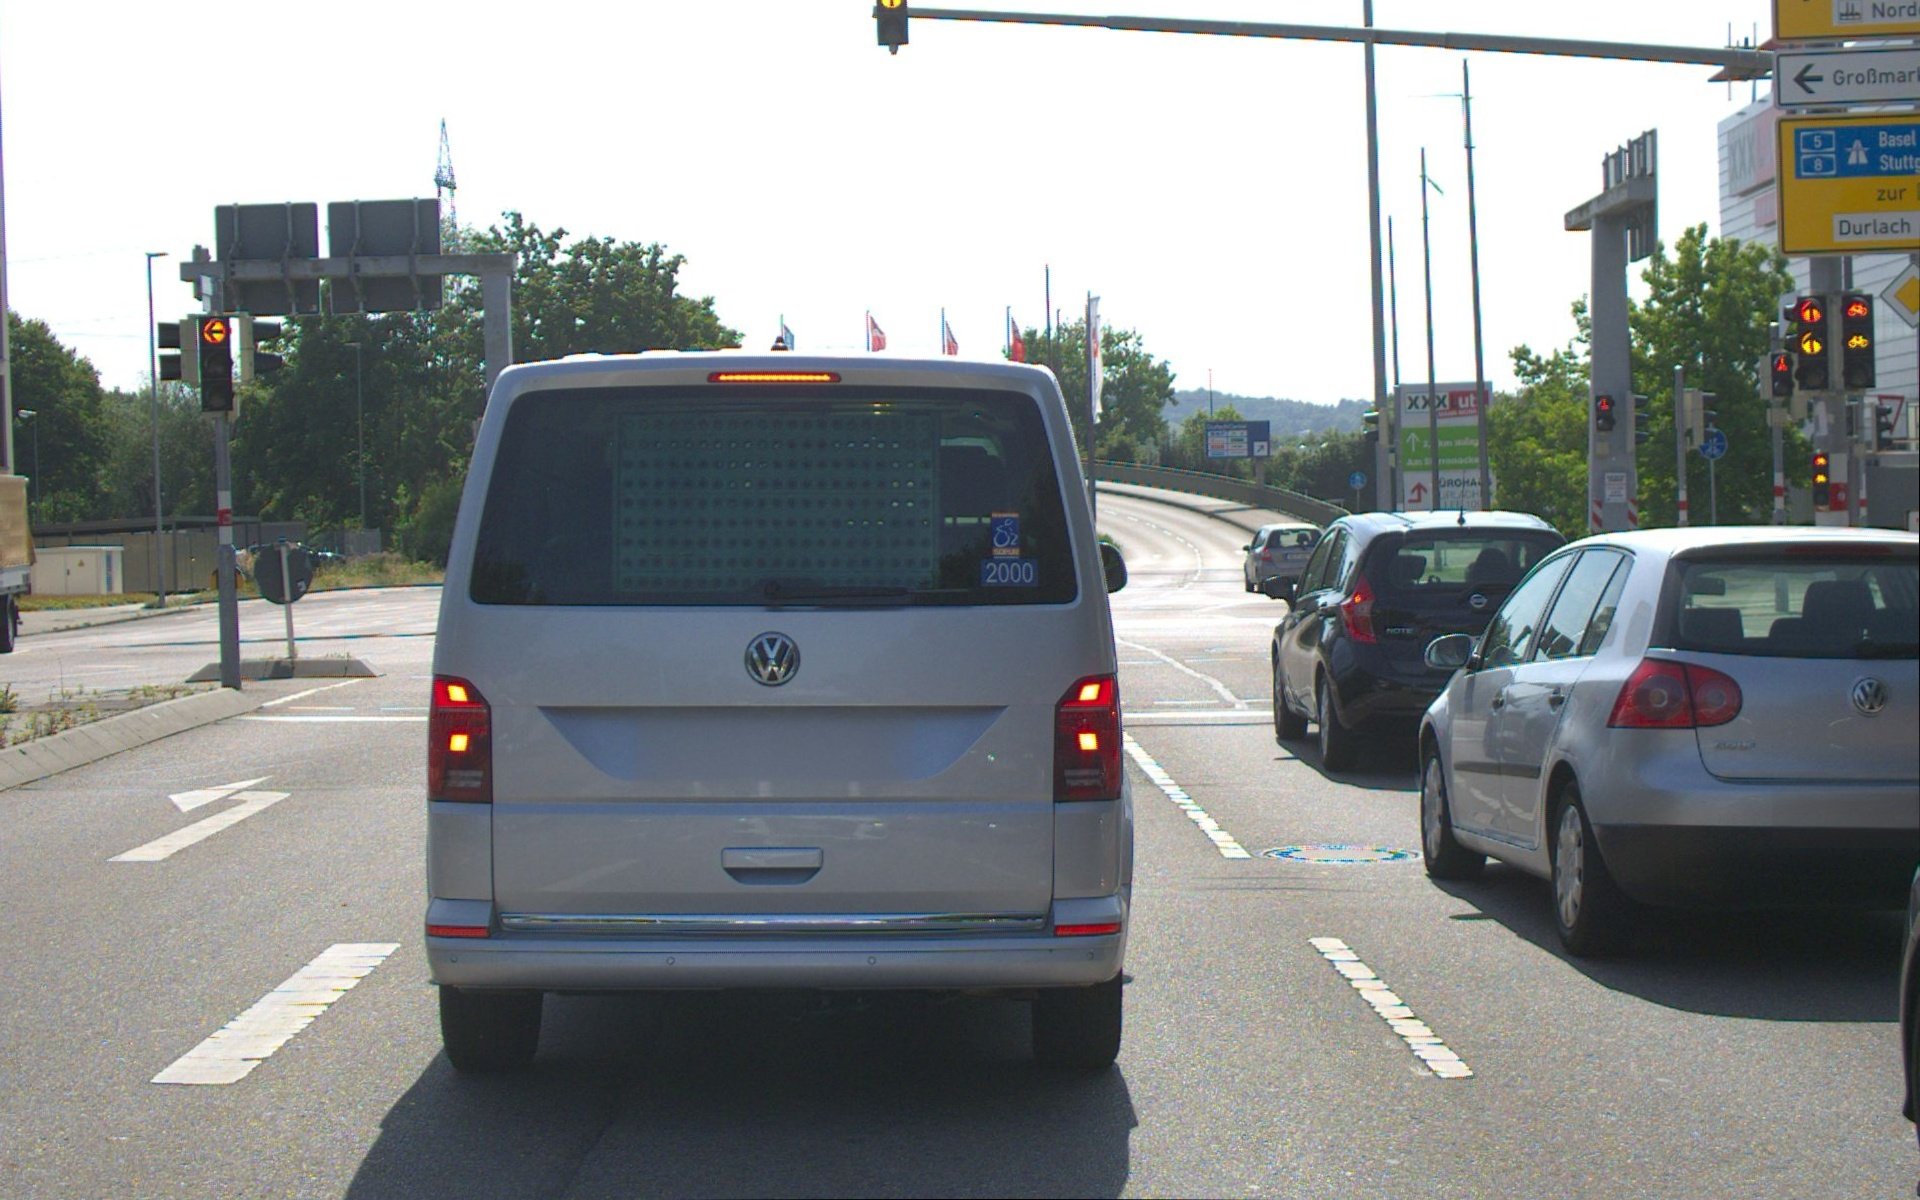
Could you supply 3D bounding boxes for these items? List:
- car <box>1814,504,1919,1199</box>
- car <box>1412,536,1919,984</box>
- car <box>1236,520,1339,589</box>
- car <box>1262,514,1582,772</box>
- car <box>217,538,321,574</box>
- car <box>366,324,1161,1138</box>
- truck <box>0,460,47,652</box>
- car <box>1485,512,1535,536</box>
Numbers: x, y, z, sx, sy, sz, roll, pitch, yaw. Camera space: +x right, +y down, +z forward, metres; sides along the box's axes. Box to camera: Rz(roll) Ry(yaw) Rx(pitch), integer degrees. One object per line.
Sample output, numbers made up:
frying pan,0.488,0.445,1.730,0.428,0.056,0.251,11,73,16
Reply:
car,2.915,0.606,5.892,1.773,1.533,4.138,-1,2,-1
car,2.832,0.480,12.905,1.666,1.409,3.683,0,1,-2
car,7.214,-1.022,75.981,1.530,1.433,3.248,-2,1,-8
car,2.806,0.202,21.503,1.531,1.474,3.596,0,1,0
car,-29.181,-1.855,145.159,4.098,1.415,1.729,-2,0,-19
car,-0.498,0.264,10.466,1.917,1.968,4.297,0,1,-1
truck,-14.428,-0.592,47.939,2.374,2.616,6.675,-2,1,-8
car,35.226,-4.856,220.210,1.993,1.415,4.001,1,1,-9
